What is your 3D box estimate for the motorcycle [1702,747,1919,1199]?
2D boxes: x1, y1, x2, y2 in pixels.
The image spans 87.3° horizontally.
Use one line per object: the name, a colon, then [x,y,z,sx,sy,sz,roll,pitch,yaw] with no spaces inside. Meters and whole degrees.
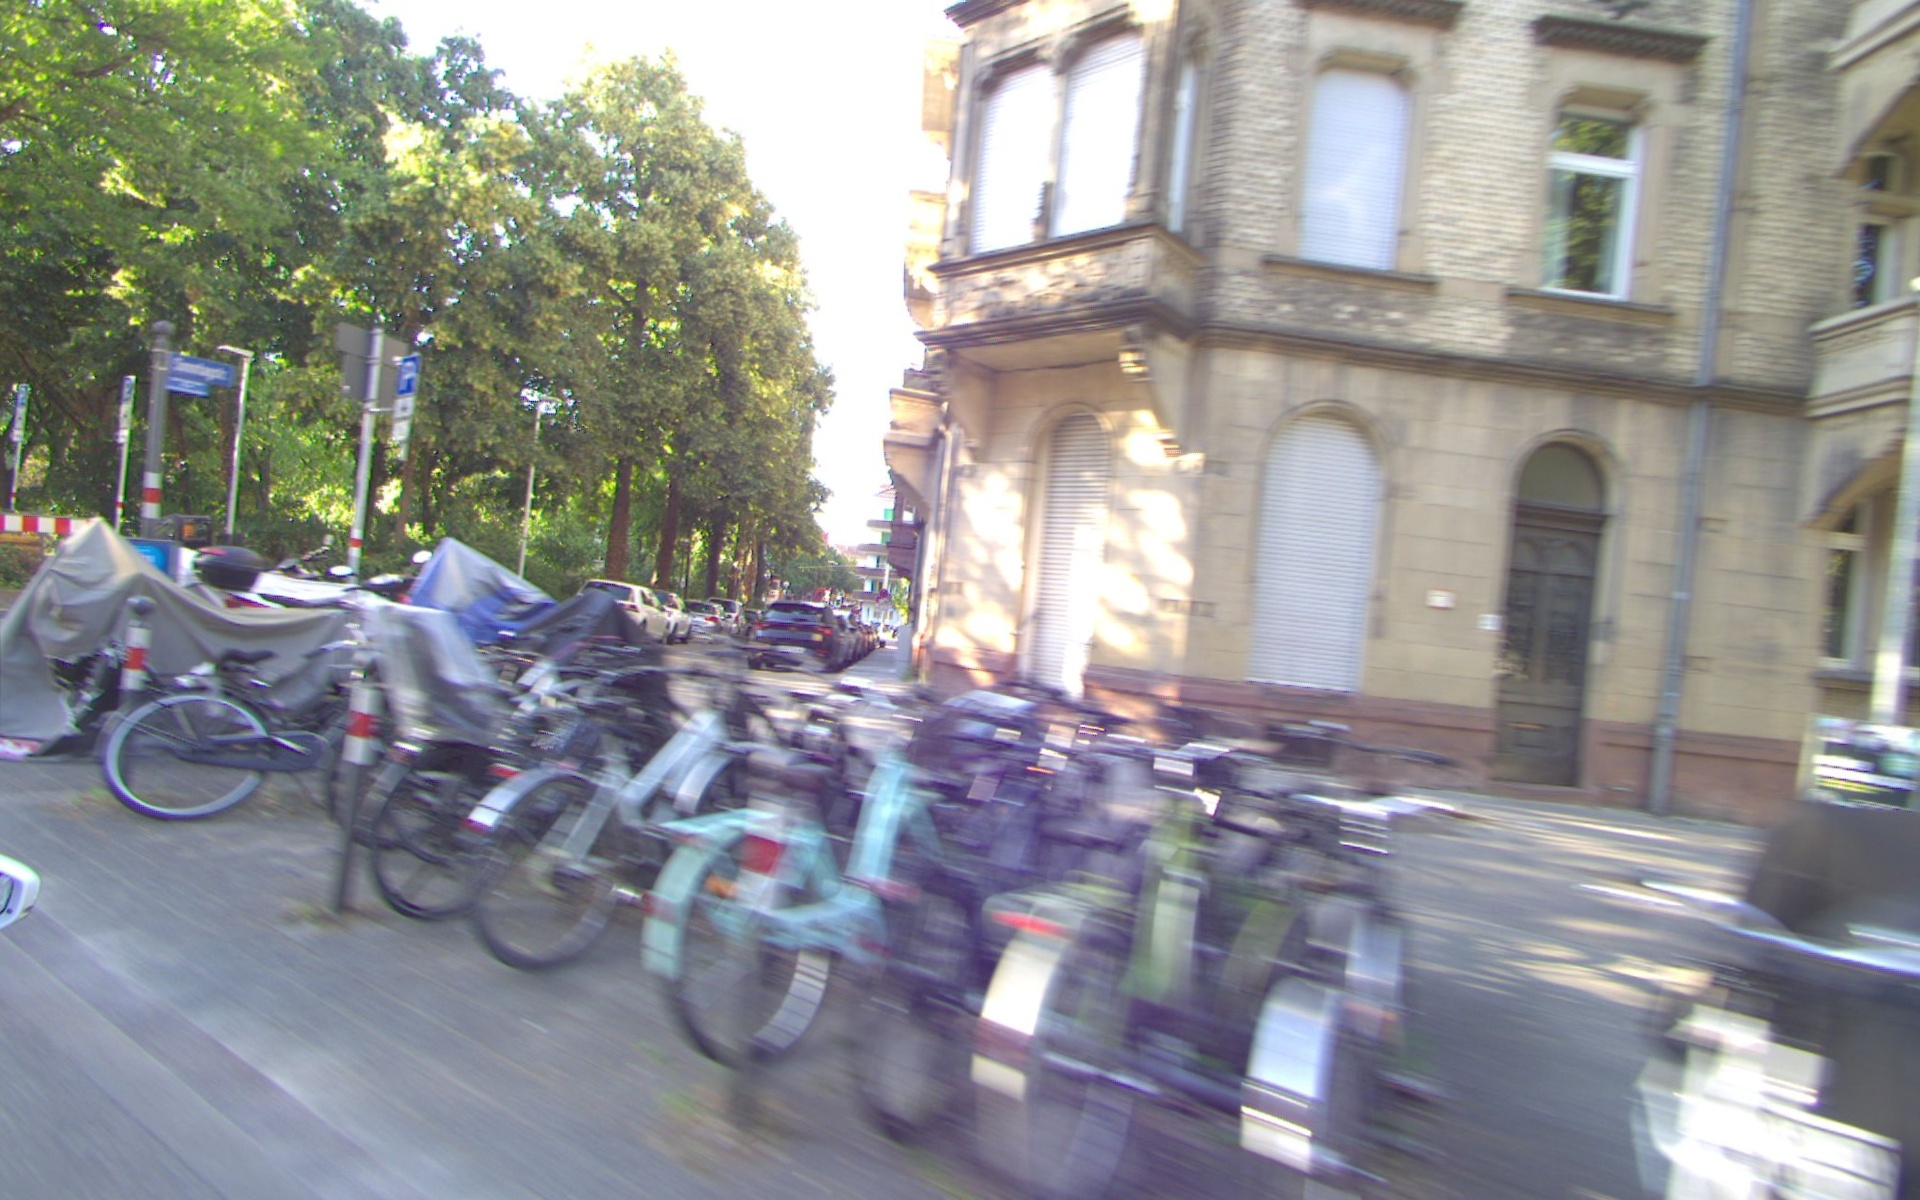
motorcycle: [2.018,1.061,1.691,0.889,1.302,2.024,7,2,30]

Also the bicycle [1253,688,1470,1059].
bicycle: [1.928,1.092,4.700,0.637,1.261,1.929,7,-1,26]

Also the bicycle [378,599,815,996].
bicycle: [-1.338,0.703,4.176,0.297,1.261,1.929,7,-1,26]

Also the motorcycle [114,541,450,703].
motorcycle: [-5.992,0.236,9.009,0.958,1.194,2.277,6,-1,44]

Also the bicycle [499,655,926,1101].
bicycle: [-0.775,0.871,3.837,0.297,1.261,1.929,7,-1,26]

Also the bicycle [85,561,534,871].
bicycle: [-3.100,0.541,5.070,0.297,1.261,1.929,7,-1,26]

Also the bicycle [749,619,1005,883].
bicycle: [-0.393,0.816,5.953,0.471,1.261,1.929,7,-1,26]

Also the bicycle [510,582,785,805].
bicycle: [-2.013,0.607,6.817,0.471,1.261,1.929,7,-1,26]

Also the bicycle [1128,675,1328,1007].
bicycle: [1.394,1.028,4.952,0.471,1.261,1.929,7,-1,26]

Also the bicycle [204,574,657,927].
bicycle: [-2.230,0.609,4.575,0.297,1.261,1.910,7,-1,26]

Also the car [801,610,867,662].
car: [-4.046,1.203,32.833,1.739,1.537,4.003,2,-3,-2]

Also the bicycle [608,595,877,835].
bicycle: [-1.289,0.690,6.425,0.471,1.261,1.929,7,-1,26]

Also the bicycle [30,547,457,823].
bicycle: [-3.812,0.457,5.591,0.297,1.261,1.929,7,-1,26]

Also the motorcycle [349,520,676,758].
motorcycle: [-3.375,0.323,7.900,0.742,1.550,2.288,6,-1,26]

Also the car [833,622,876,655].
car: [-4.938,1.840,47.615,1.739,1.393,4.003,2,-3,-2]

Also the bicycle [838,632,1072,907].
bicycle: [0.062,0.870,5.699,0.388,1.261,1.929,7,-1,26]

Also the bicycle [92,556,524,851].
bicycle: [-3.248,0.510,5.276,0.297,1.261,1.929,7,0,26]

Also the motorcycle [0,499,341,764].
motorcycle: [-5.088,0.202,6.293,1.917,1.430,0.933,7,0,-31]

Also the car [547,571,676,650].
car: [-8.433,0.332,24.744,1.849,1.427,4.003,10,-4,-4]

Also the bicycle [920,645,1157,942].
bicycle: [0.511,0.924,5.407,0.471,1.261,1.929,7,-1,26]

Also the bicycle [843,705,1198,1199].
bicycle: [0.326,1.006,3.195,0.297,1.261,1.929,7,-1,26]

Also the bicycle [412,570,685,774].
bicycle: [-2.898,0.519,7.337,0.444,1.261,1.929,7,-1,26]

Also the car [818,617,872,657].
car: [-4.399,1.458,39.018,1.739,1.393,4.003,2,-3,-2]

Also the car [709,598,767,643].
car: [-10.088,0.986,46.002,1.849,1.602,4.003,10,-4,-4]

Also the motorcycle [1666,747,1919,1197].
motorcycle: [3.438,1.278,3.868,0.889,1.122,2.025,7,1,30]

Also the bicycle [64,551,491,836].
bicycle: [-3.529,0.483,5.453,0.297,1.261,1.929,7,-1,26]

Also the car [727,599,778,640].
car: [-10.442,1.046,50.872,1.849,1.602,4.003,10,-4,-4]

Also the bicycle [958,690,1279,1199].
bicycle: [0.599,0.930,3.043,0.297,1.261,1.929,7,-1,26]

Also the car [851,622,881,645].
car: [-6.236,2.254,67.326,1.739,1.393,4.003,2,-3,-2]

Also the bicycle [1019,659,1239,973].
bicycle: [0.954,0.976,5.183,0.471,1.261,1.929,7,-1,26]

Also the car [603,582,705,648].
car: [-8.895,0.509,29.625,1.849,1.478,4.003,10,-4,-4]

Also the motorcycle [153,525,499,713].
motorcycle: [-5.234,0.214,8.472,0.647,1.358,2.278,6,-1,43]

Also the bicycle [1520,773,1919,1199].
bicycle: [1.487,1.076,2.127,0.436,1.142,1.818,7,2,30]

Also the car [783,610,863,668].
car: [-3.656,1.084,27.444,1.739,1.393,4.003,2,-3,-2]

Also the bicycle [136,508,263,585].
bicycle: [-15.602,-1.097,20.653,2.107,1.302,1.026,7,1,19]

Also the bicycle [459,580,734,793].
bicycle: [-2.461,0.590,7.099,0.471,1.261,1.929,7,-1,26]

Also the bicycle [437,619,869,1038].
bicycle: [-1.056,0.769,4.017,0.297,1.261,1.929,7,-1,26]

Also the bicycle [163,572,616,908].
bicycle: [-2.521,0.595,4.759,0.297,1.261,1.929,7,-1,26]

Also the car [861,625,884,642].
car: [-7.593,2.913,87.257,1.739,1.393,4.003,2,-3,-2]

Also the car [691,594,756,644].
car: [-9.776,0.828,41.893,1.849,1.602,4.003,10,-4,-4]

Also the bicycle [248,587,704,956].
bicycle: [-1.948,0.661,4.422,0.297,1.261,1.929,7,-1,26]

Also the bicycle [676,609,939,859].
bicycle: [-0.842,0.763,6.197,0.471,1.261,1.929,7,-1,26]

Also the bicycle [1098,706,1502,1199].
bicycle: [1.024,0.996,2.804,0.637,1.261,1.929,7,-1,26]

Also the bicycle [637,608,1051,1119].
bicycle: [-0.236,0.729,3.457,0.297,1.261,1.929,7,-1,26]

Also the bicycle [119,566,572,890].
bicycle: [-2.817,0.571,4.906,0.297,1.261,1.929,7,-1,26]

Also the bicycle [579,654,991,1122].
bicycle: [-0.482,0.863,3.702,0.297,1.261,1.929,7,-1,26]

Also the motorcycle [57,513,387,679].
motorcycle: [-7.054,0.021,9.821,0.924,1.358,2.372,6,-1,22]

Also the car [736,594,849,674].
car: [-3.322,0.734,20.709,1.963,1.393,4.367,3,-3,-6]

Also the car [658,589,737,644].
car: [-9.271,0.653,35.806,1.849,1.478,4.003,10,-4,-4]

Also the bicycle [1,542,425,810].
bicycle: [-4.088,0.425,5.732,0.297,1.261,1.929,7,-1,26]

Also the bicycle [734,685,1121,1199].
bicycle: [0.045,0.940,3.346,0.297,1.261,1.929,7,-1,26]

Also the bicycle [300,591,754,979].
bicycle: [-1.652,0.678,4.260,0.297,1.261,1.929,7,-1,26]
